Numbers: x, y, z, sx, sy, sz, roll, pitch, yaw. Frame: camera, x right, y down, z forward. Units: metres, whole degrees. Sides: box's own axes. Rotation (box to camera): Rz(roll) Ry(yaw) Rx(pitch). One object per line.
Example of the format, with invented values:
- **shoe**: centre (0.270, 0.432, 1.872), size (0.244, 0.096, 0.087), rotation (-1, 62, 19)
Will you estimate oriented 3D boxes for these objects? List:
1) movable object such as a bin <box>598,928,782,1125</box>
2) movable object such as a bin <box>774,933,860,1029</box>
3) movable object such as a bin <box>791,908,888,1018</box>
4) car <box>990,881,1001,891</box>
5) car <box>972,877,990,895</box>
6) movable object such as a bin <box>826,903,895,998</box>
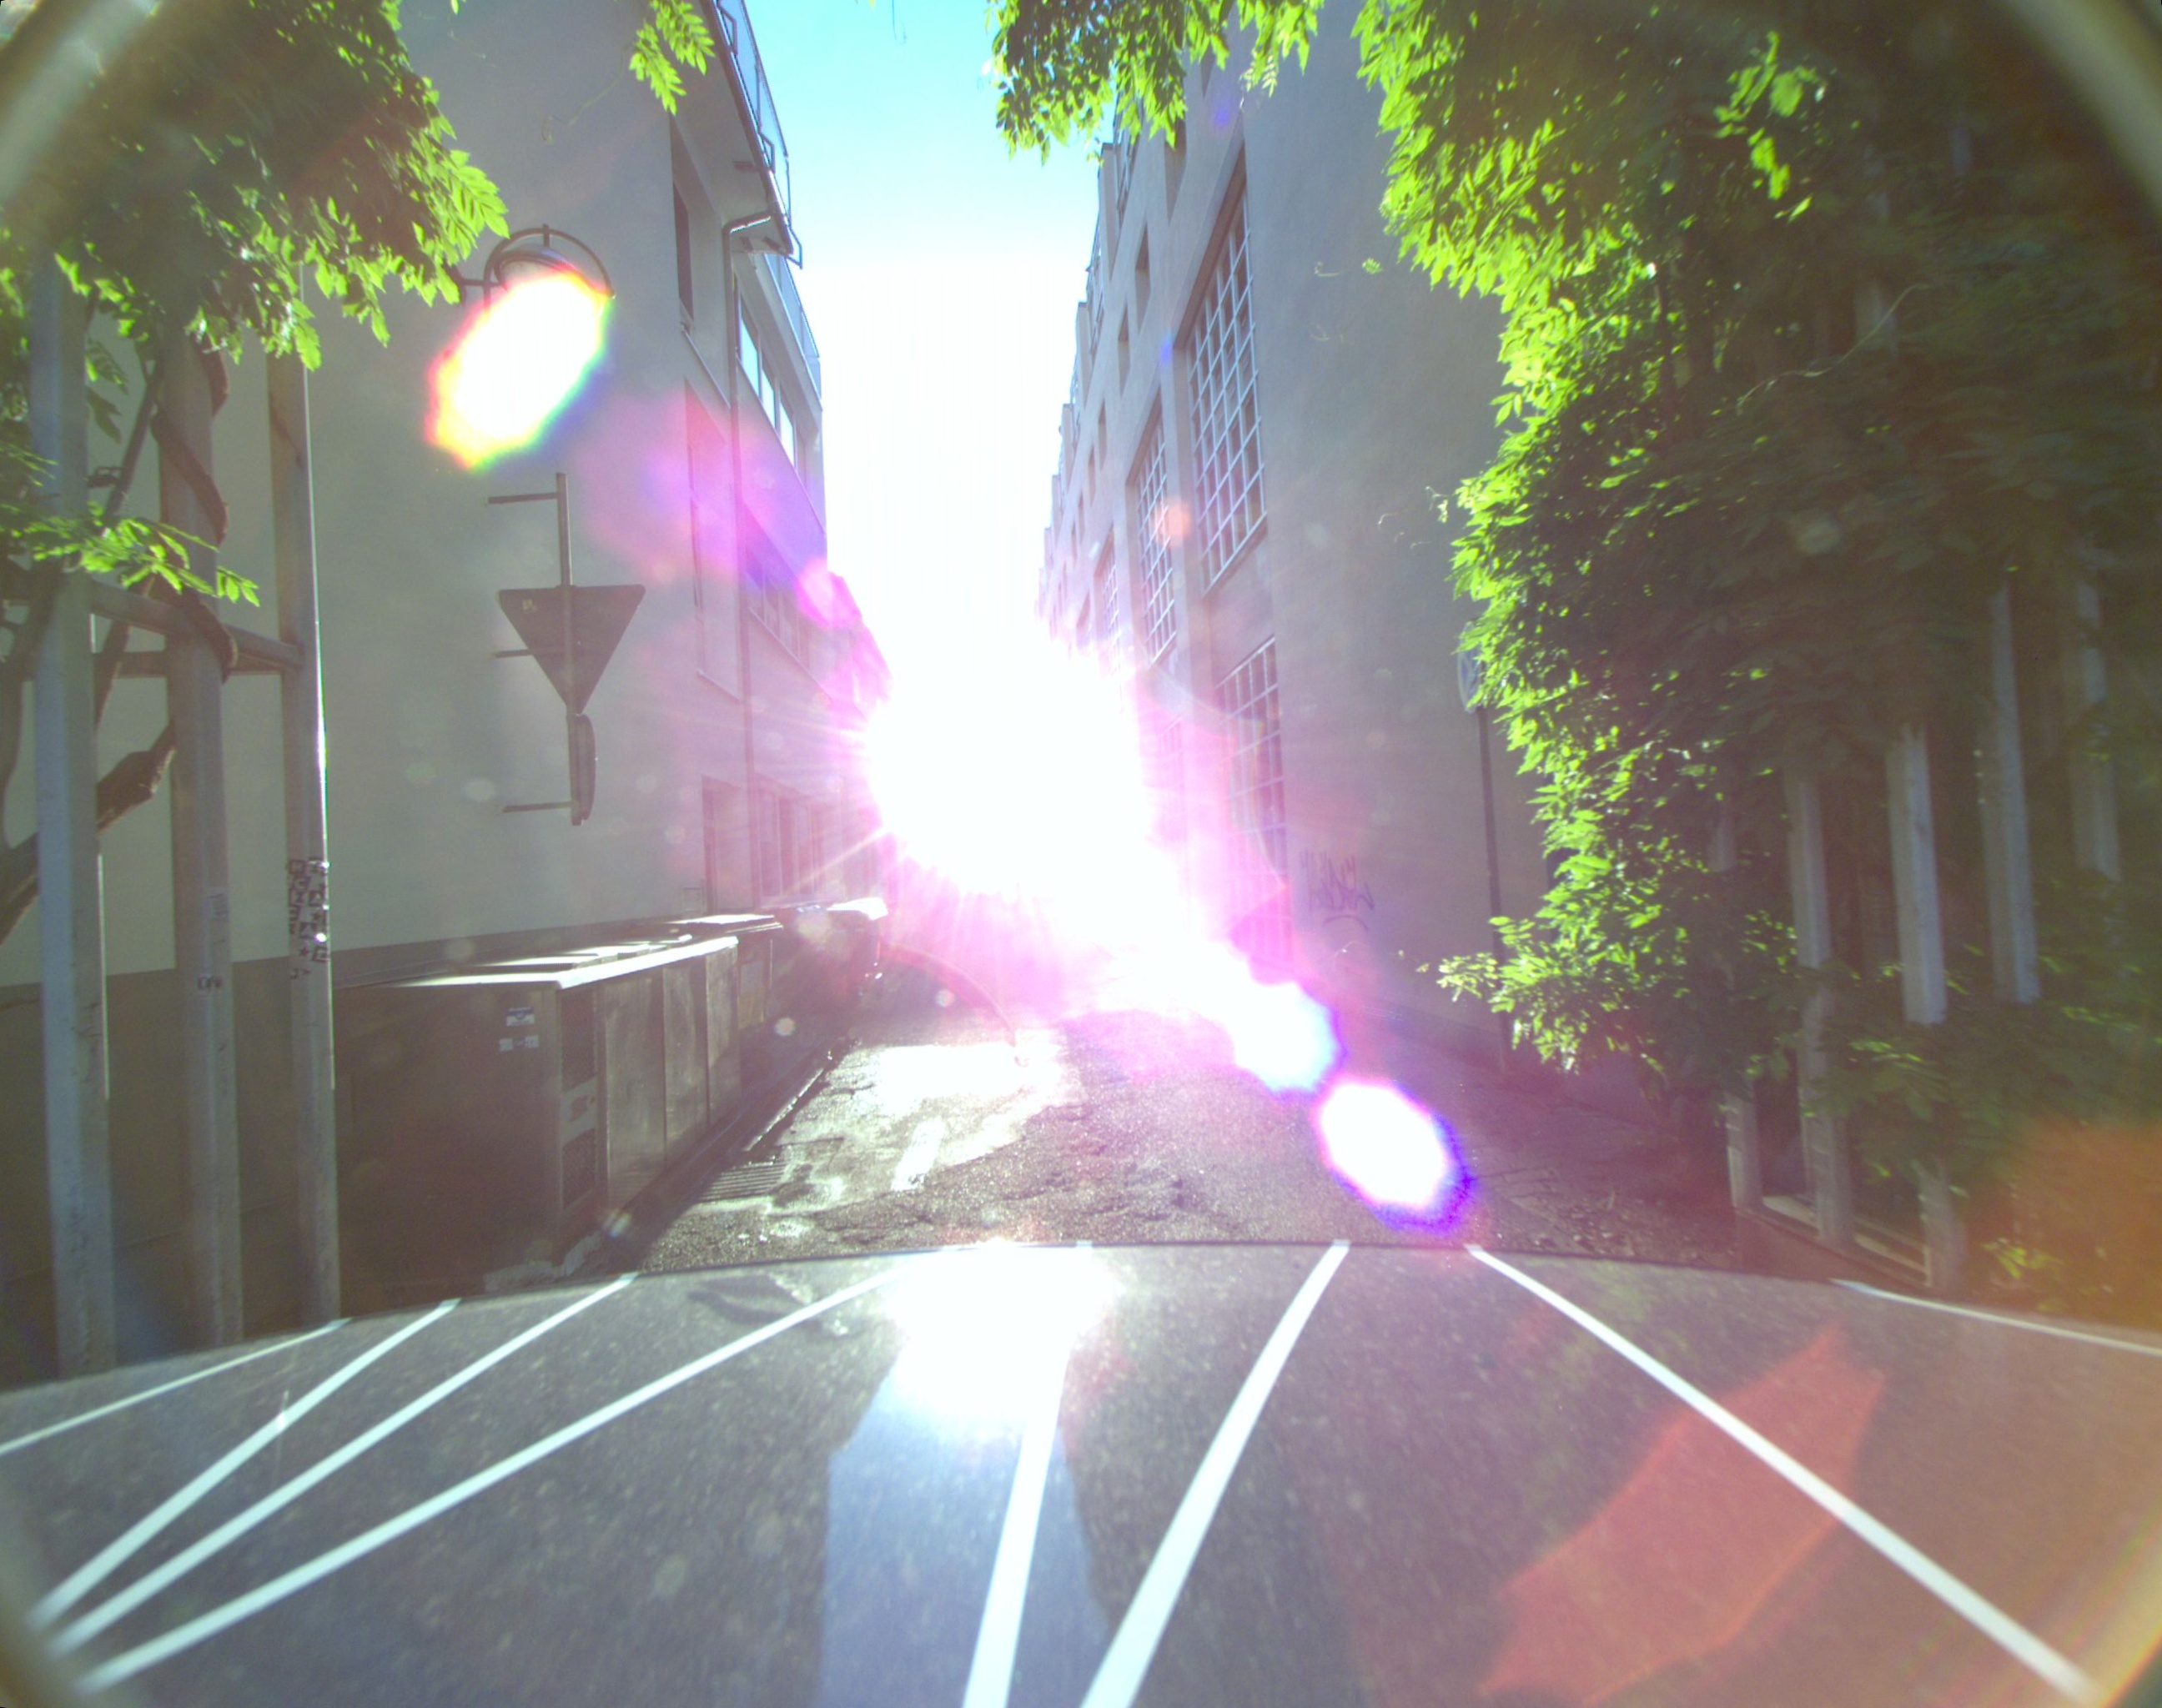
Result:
- **movable object such as a bin**: centre (-3.069, 1.301, 6.116), size (0.838, 1.297, 1.290), rotation (-1, -1, -3)
- **movable object such as a bin**: centre (-3.284, 1.565, 9.529), size (0.872, 1.068, 0.738), rotation (-1, -1, -8)
- **movable object such as a bin**: centre (-3.374, 1.489, 10.755), size (1.067, 1.358, 1.341), rotation (-1, -1, -8)
- **car**: centre (-16.784, 6.210, 149.477), size (2.000, 1.804, 3.999), rotation (-5, -1, -8)
- **car**: centre (-11.044, 3.492, 83.857), size (1.765, 1.756, 4.749), rotation (-5, -1, -7)
- **movable object such as a bin**: centre (-3.493, 1.500, 12.155), size (0.940, 1.358, 1.341), rotation (-1, -2, -12)
